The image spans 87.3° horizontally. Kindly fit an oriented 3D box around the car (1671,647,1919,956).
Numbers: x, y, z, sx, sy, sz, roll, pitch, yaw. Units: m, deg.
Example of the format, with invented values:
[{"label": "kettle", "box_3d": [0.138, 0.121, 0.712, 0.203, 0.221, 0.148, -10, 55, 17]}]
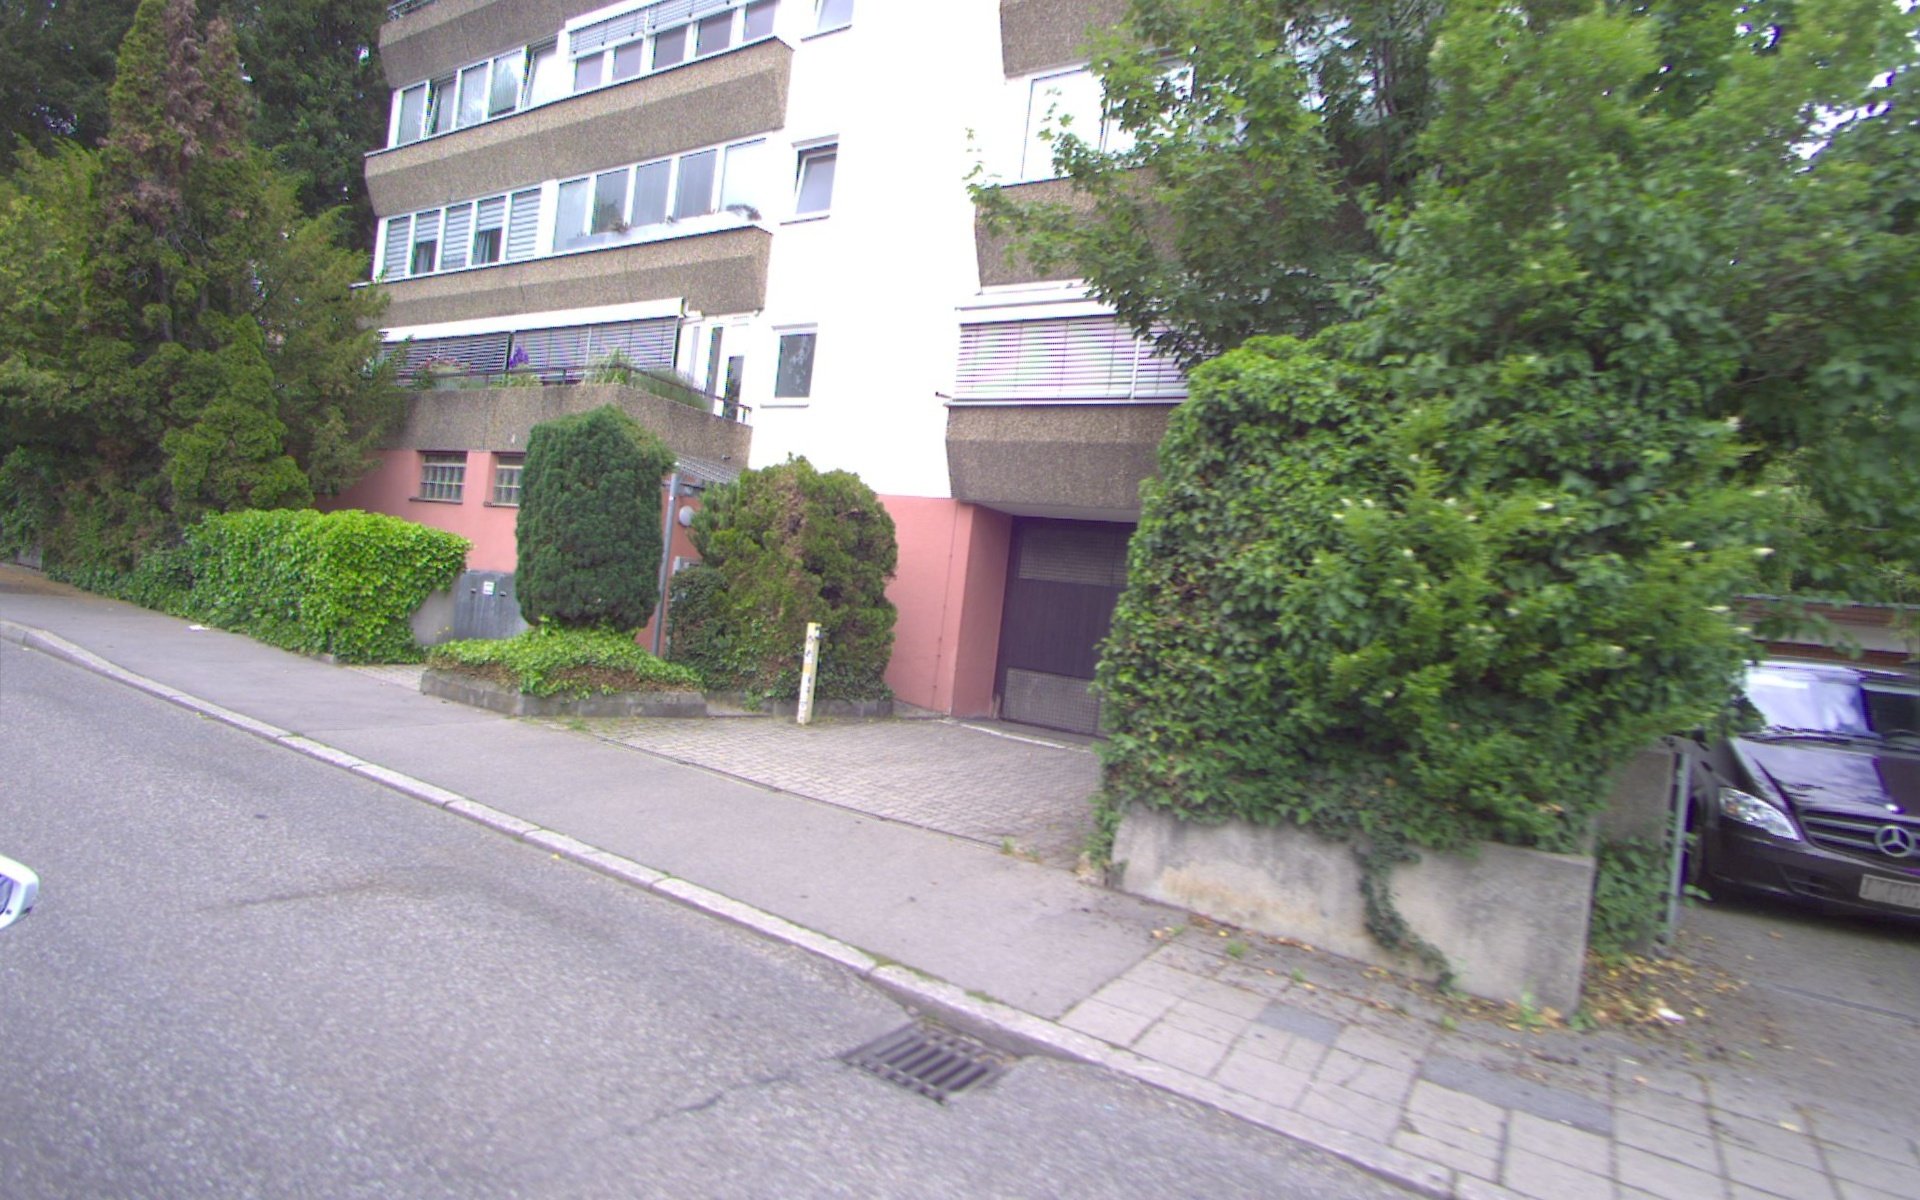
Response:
[{"label": "car", "box_3d": [7.049, 1.416, 8.088, 1.858, 1.812, 3.987, 7, 1, 34]}]
